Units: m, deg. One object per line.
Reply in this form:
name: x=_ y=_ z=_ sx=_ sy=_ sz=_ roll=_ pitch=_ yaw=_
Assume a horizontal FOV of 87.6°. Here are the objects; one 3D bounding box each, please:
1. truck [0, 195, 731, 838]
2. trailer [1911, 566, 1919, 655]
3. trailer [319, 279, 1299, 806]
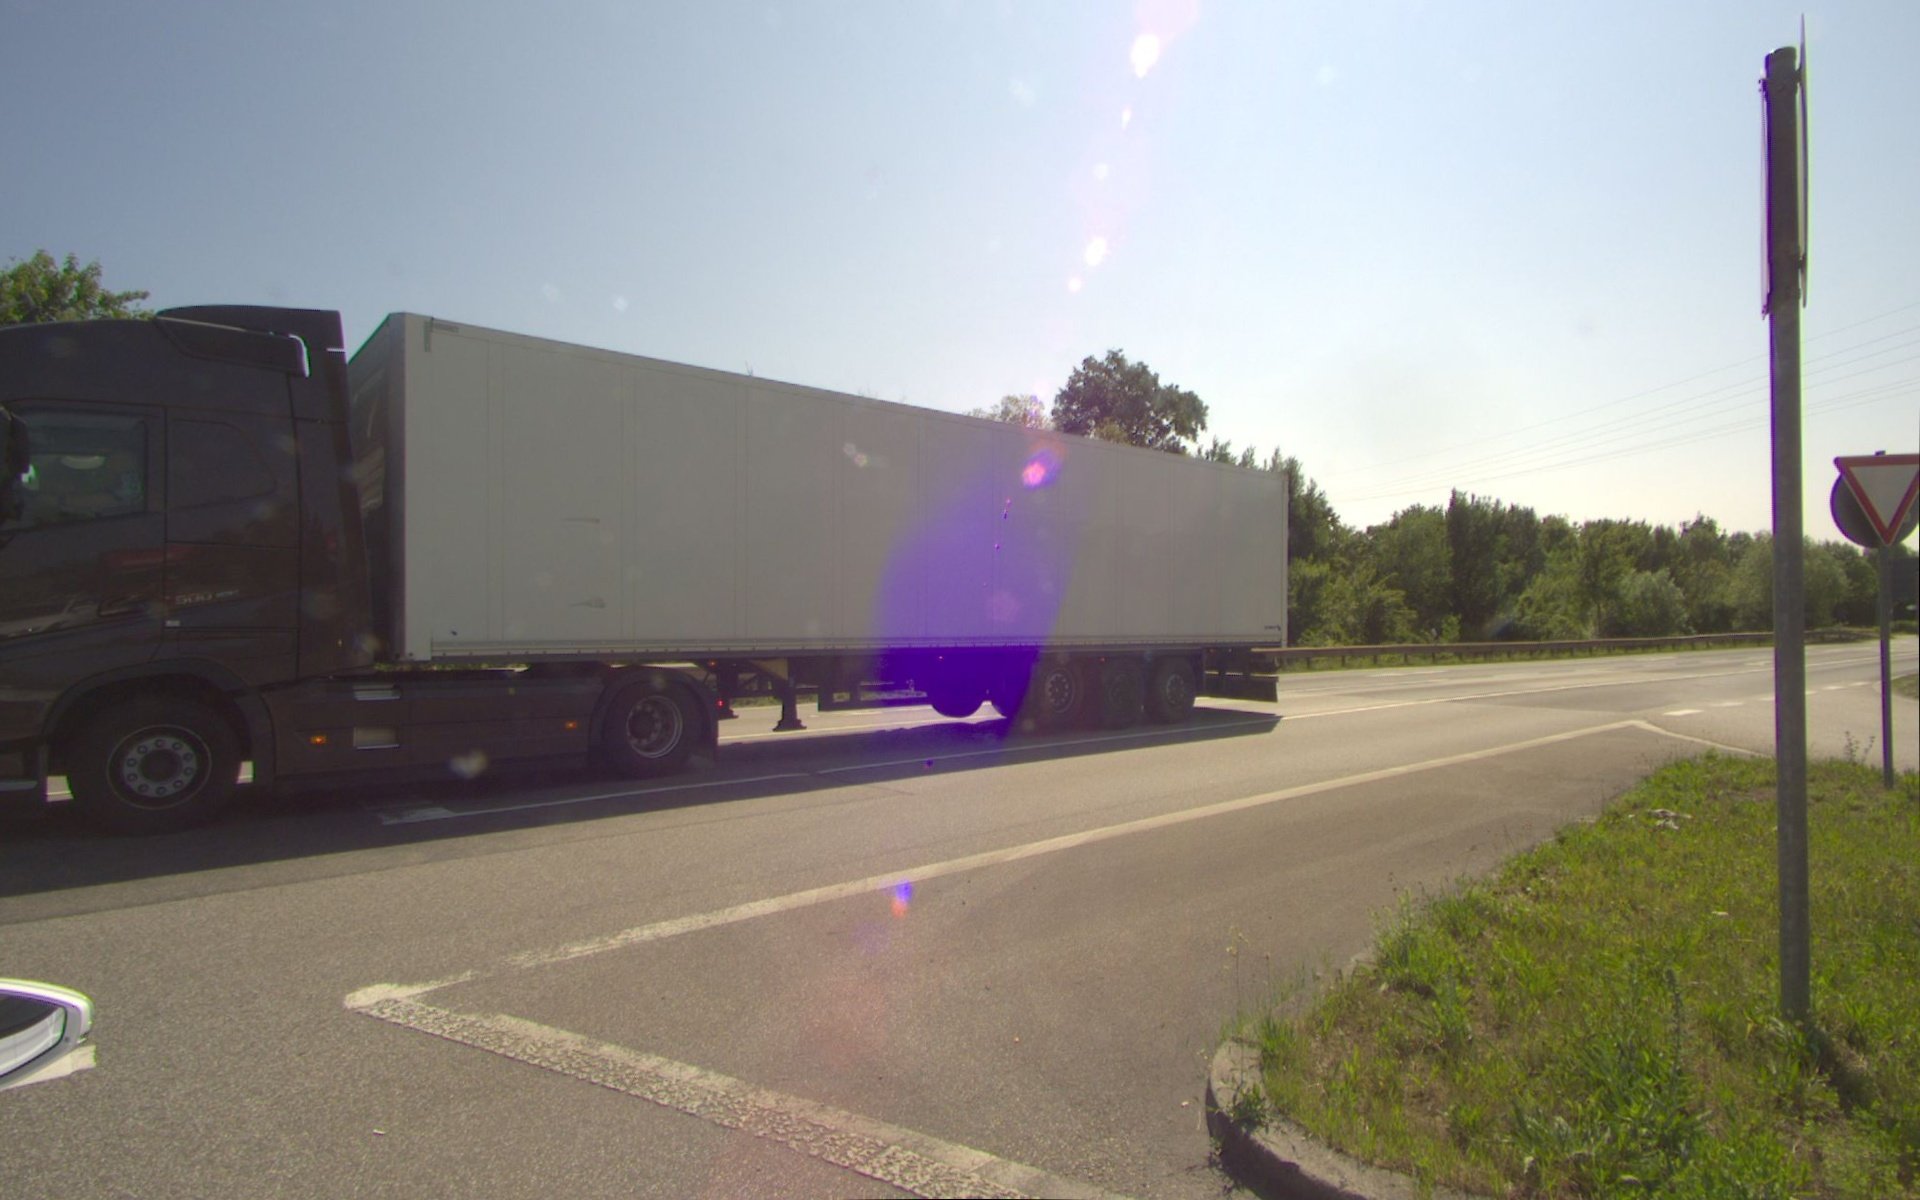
truck: x=-5.471 y=-0.482 z=9.214 sx=5.907 sy=4.228 sz=2.855 roll=1 pitch=-1 yaw=-41
trailer: x=49.796 y=0.487 z=48.412 sx=13.243 sy=4.062 sz=2.911 roll=0 pitch=-1 yaw=-35
trailer: x=-0.382 y=-0.348 z=13.633 sx=13.829 sy=4.219 sz=2.871 roll=1 pitch=-1 yaw=-41
